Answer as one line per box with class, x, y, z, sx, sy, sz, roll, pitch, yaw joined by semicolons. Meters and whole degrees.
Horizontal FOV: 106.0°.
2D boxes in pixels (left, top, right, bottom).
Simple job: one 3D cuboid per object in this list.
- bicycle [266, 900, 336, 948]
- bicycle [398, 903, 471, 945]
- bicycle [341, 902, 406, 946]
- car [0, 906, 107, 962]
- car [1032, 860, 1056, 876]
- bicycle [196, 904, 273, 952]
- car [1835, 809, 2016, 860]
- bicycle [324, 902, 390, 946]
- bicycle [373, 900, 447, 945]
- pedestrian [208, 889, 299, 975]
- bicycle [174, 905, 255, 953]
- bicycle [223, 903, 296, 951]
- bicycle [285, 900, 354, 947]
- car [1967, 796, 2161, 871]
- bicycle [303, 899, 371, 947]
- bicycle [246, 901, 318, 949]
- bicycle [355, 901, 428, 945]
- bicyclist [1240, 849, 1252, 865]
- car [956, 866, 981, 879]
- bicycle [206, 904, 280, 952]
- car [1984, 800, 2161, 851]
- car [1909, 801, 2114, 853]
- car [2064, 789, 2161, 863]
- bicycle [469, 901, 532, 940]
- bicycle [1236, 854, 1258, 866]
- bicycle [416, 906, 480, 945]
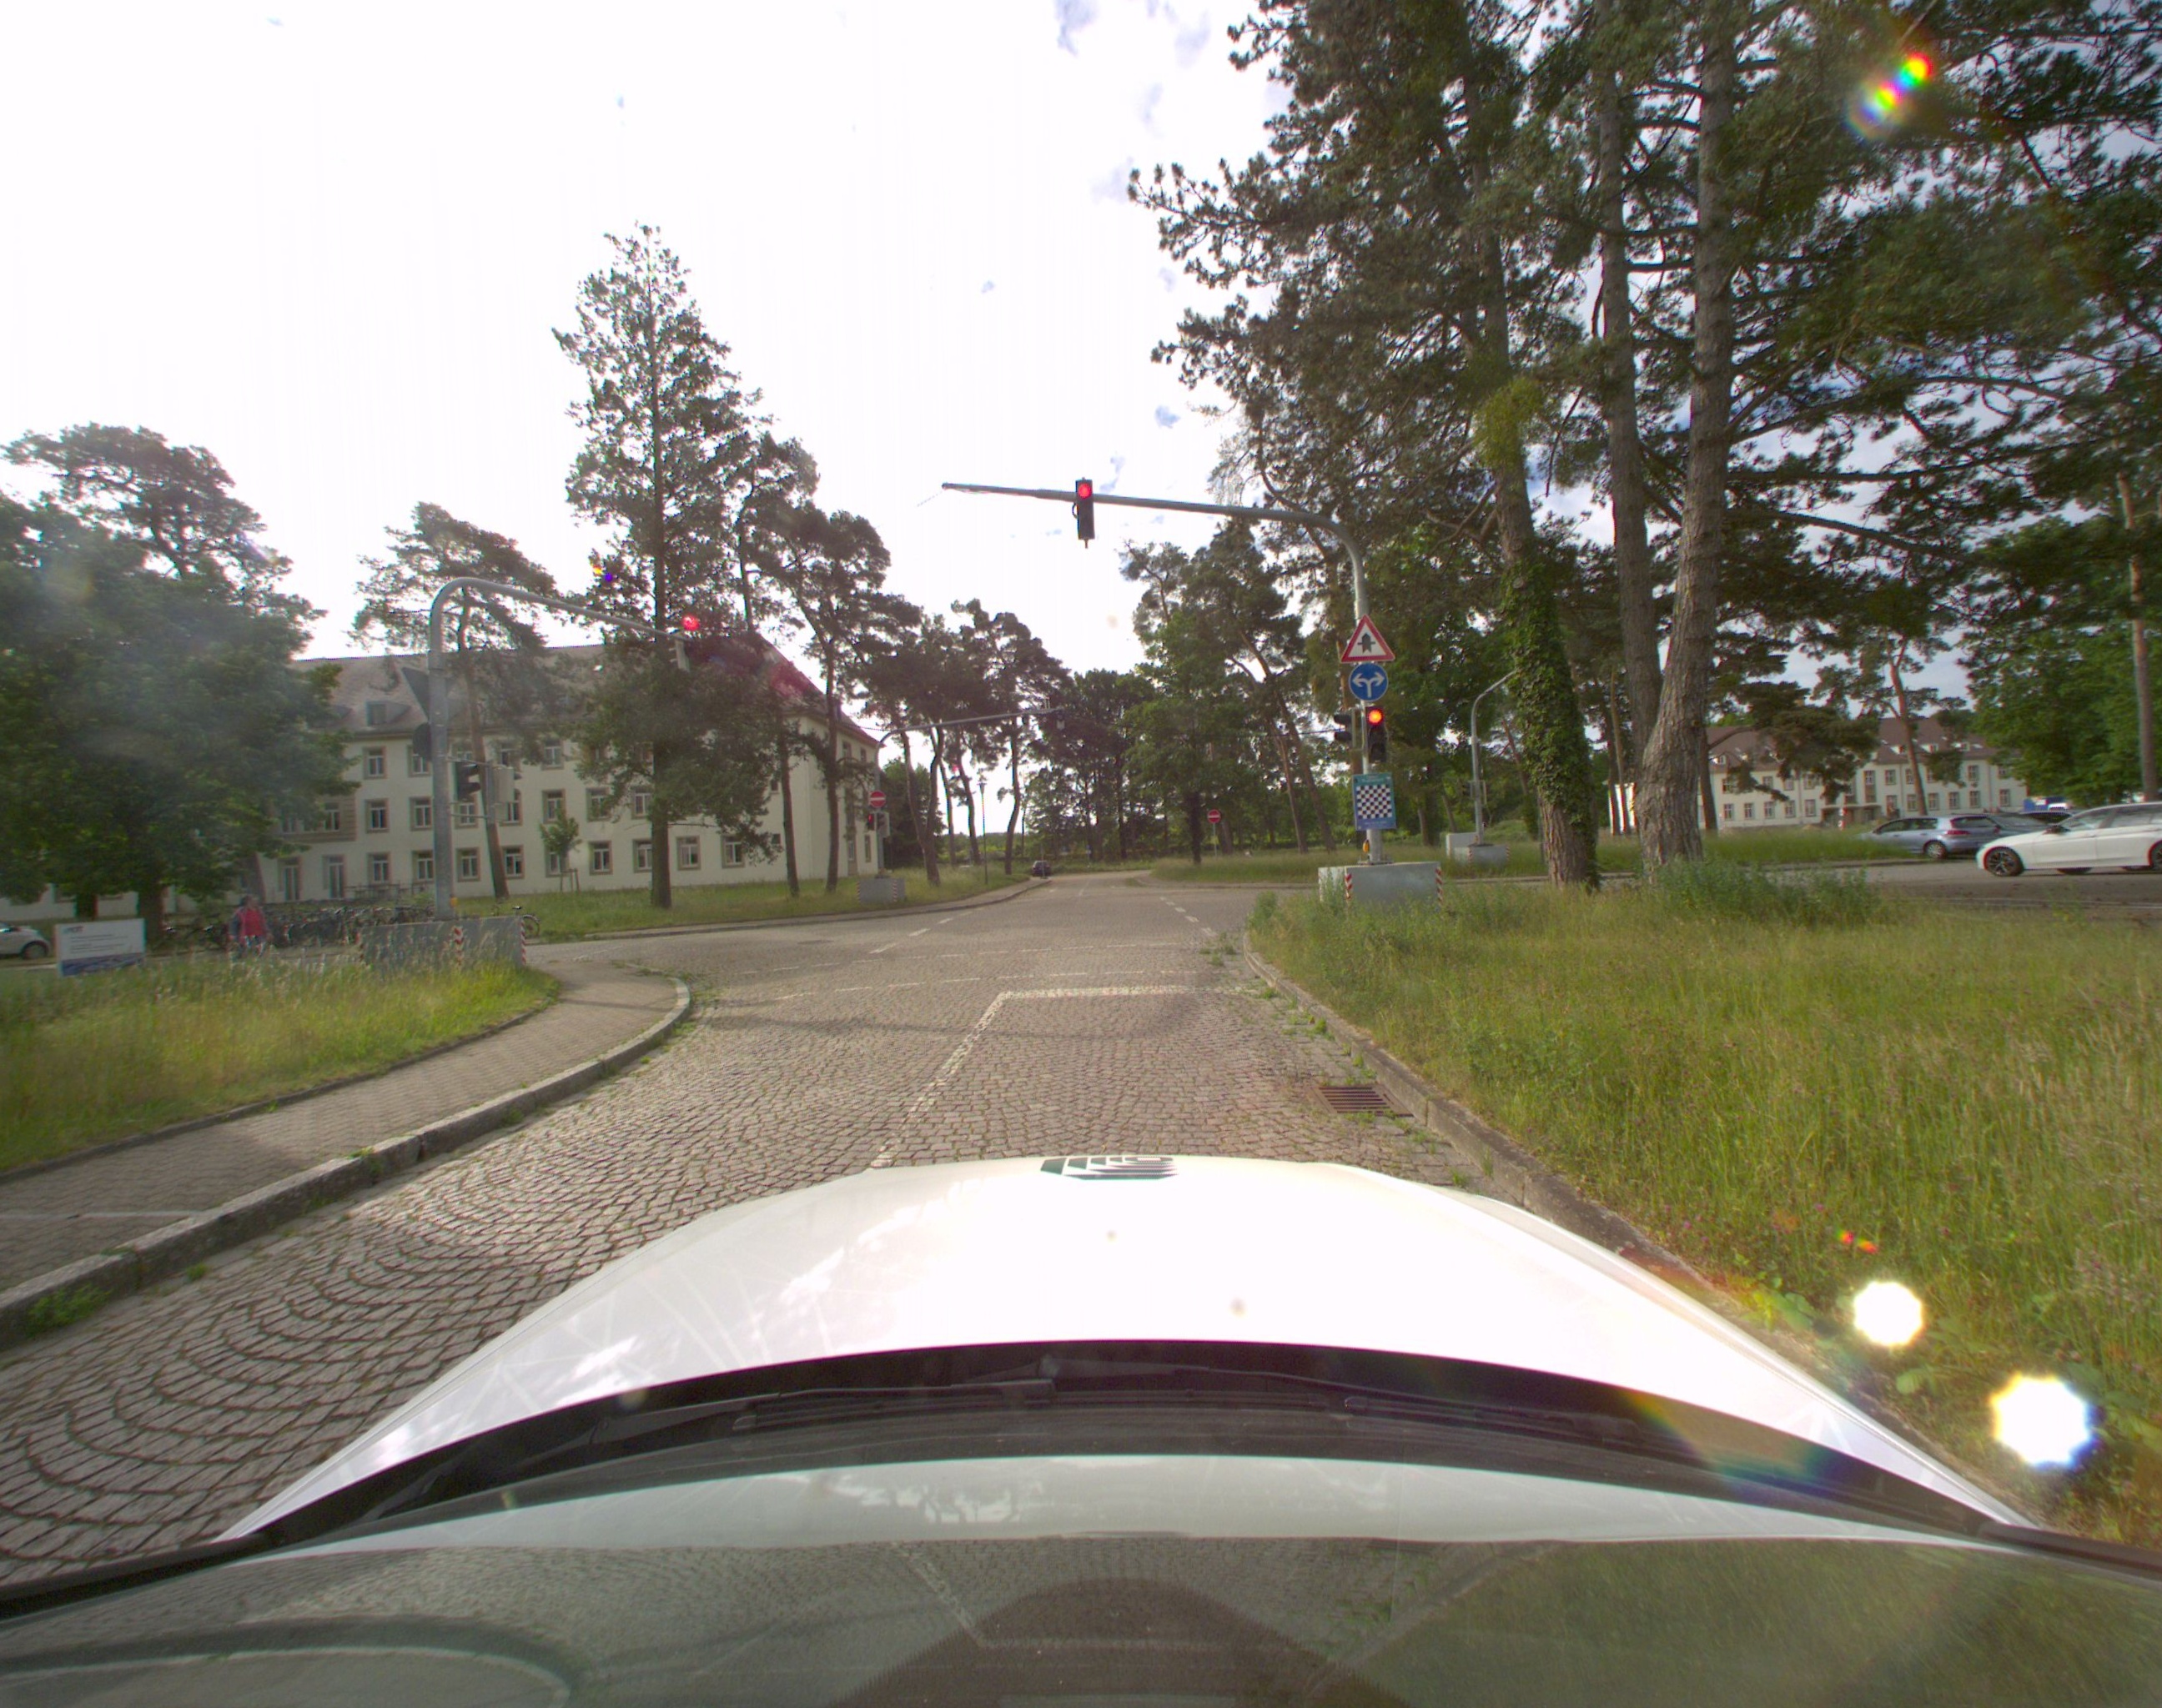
bicycle;-23.687;2.111;24.773;0.447;1.283;1.695;-3;0;0
bicycle;-19.674;2.106;24.846;0.573;1.078;1.996;-3;0;0
bicycle;-21.468;2.107;24.754;0.447;1.178;1.695;-3;0;0
car;-34.273;2.602;25.871;1.832;1.556;3.899;-3;0;2
car;-3.646;1.377;80.512;1.985;1.508;4.003;-1;0;3
bicycle;-25.865;2.234;24.925;0.441;1.283;1.785;-3;0;0
car;28.943;-0.627;28.153;1.745;1.524;4.451;-3;0;3
bicycle;-21.954;2.109;24.737;0.447;1.178;1.695;-3;0;0
bicycle;-20.373;2.061;24.773;0.573;1.178;1.954;-3;0;0
pedestrian;-17.433;1.622;17.182;0.856;1.668;0.941;-3;0;3
bicycle;-26.331;2.248;24.795;0.447;1.283;1.827;-3;0;0
bicycle;-24.912;2.202;24.731;0.447;1.283;1.695;-3;0;0
bicycle;-23.172;2.096;24.812;0.447;1.283;1.695;-3;0;0
car;21.424;-0.418;16.602;1.748;1.415;4.444;-3;-1;-2
bicycle;-22.667;2.080;24.850;0.447;1.283;1.695;-3;0;0
bicycle;-24.250;2.129;24.753;0.447;1.283;1.695;-3;0;0
bicycle;-20.955;2.079;24.807;0.526;1.178;1.930;-3;0;0
bicyclist;16.645;0.299;82.038;0.972;1.510;0.807;-3;0;-2
car;-11.264;1.814;81.625;1.682;1.156;4.003;-3;0;3
bicycle;-25.399;2.217;24.723;0.447;1.283;1.695;-3;0;0
car;34.008;-0.930;27.611;1.748;1.524;4.444;-3;0;-2
car;31.357;-0.850;27.686;1.748;1.524;4.443;-3;0;-2
car;23.998;-0.651;16.843;1.861;1.577;4.444;-3;0;-2
bicycle;-16.651;1.904;23.382;1.453;0.996;0.452;-3;0;2
bicycle;16.672;0.637;82.033;1.982;1.095;0.809;-3;0;-3
bicycle;-18.172;2.044;23.371;1.453;0.996;0.452;-3;0;2
